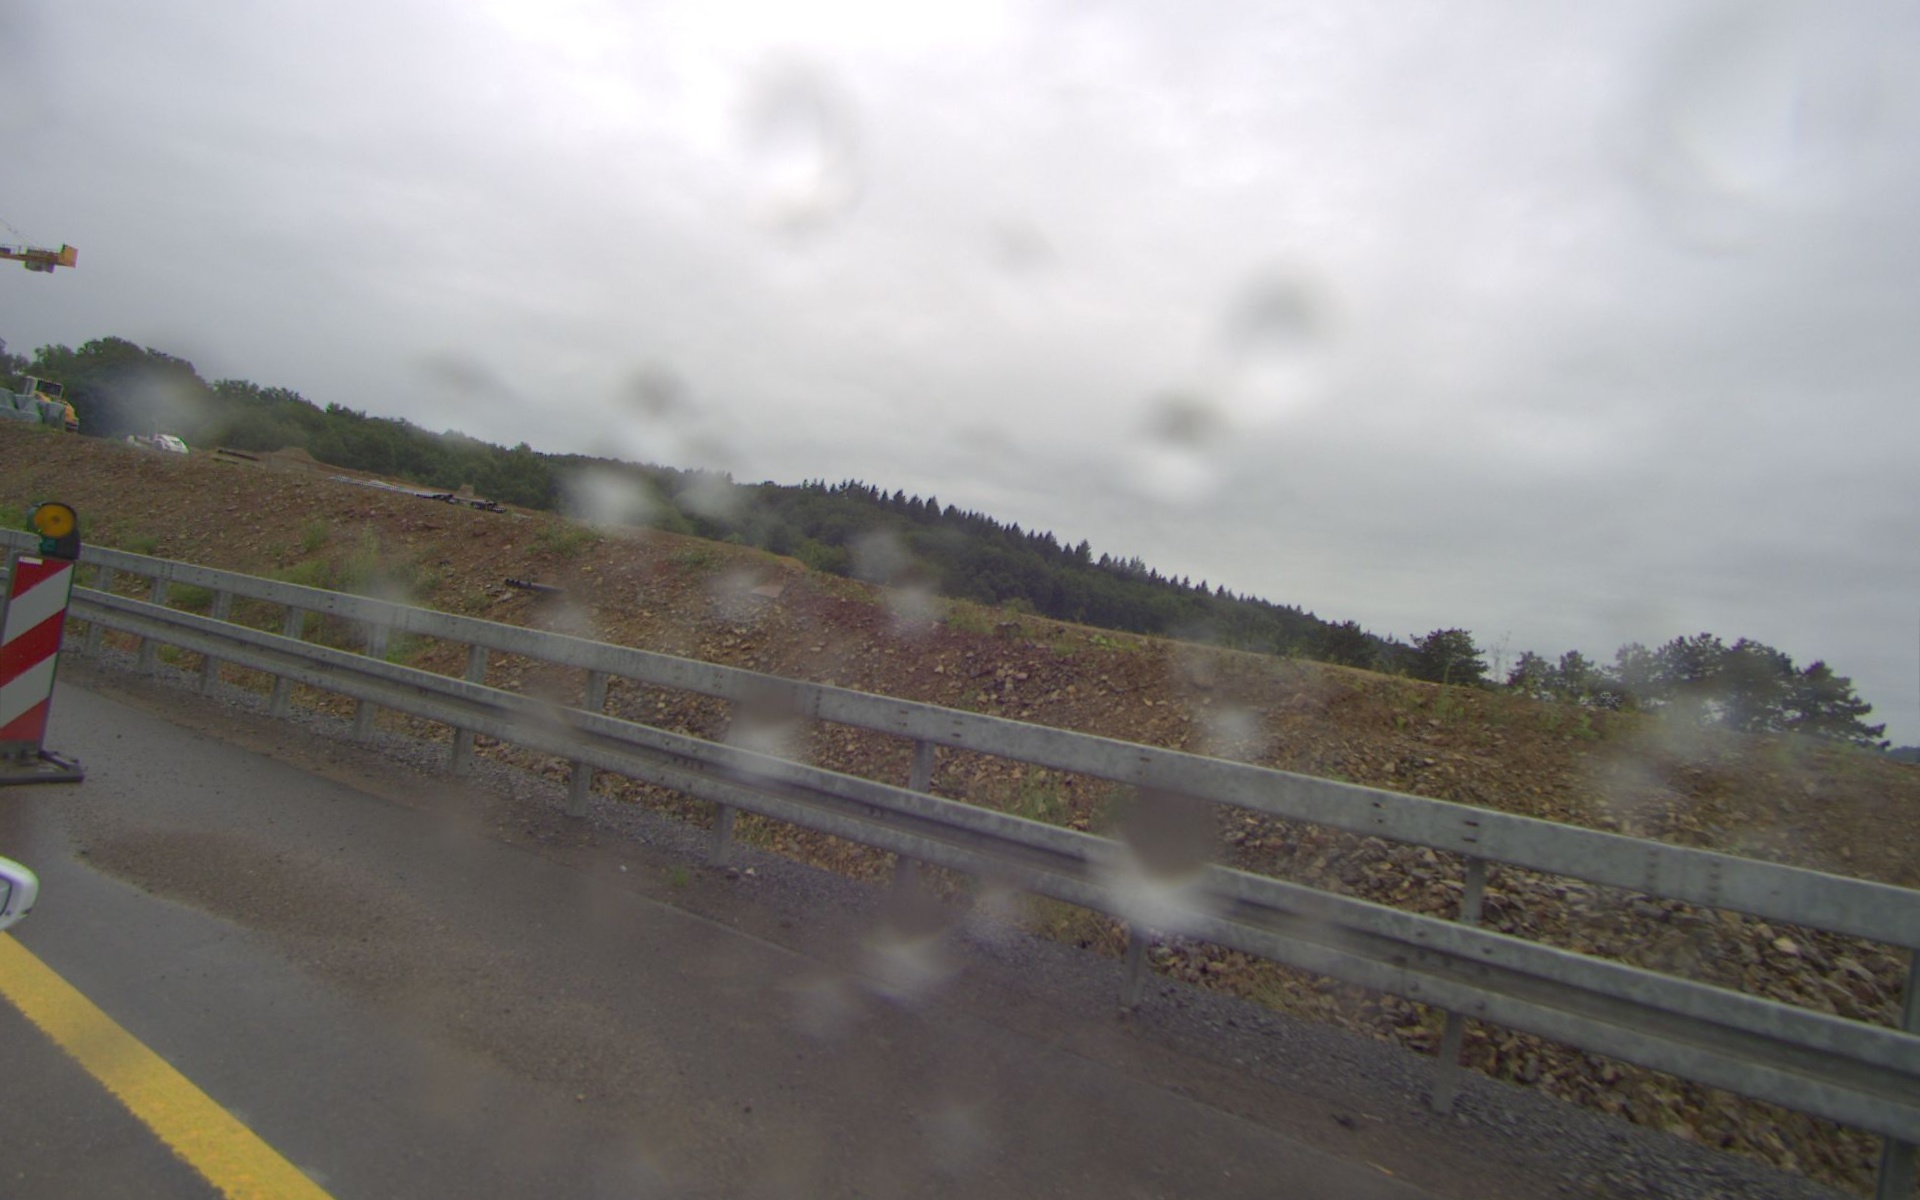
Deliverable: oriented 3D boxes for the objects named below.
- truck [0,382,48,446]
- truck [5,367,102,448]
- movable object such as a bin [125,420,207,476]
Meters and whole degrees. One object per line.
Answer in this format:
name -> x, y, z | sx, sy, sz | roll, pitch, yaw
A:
truck -> -54.059, -10.413, 55.352 | 8.813, 2.908, 3.401 | 7, -1, 33
truck -> -55.469, -11.777, 61.529 | 5.878, 4.267, 2.378 | 7, -1, 31
movable object such as a bin -> -62.530, -11.959, 79.172 | 6.446, 3.642, 2.347 | 7, -1, 28
